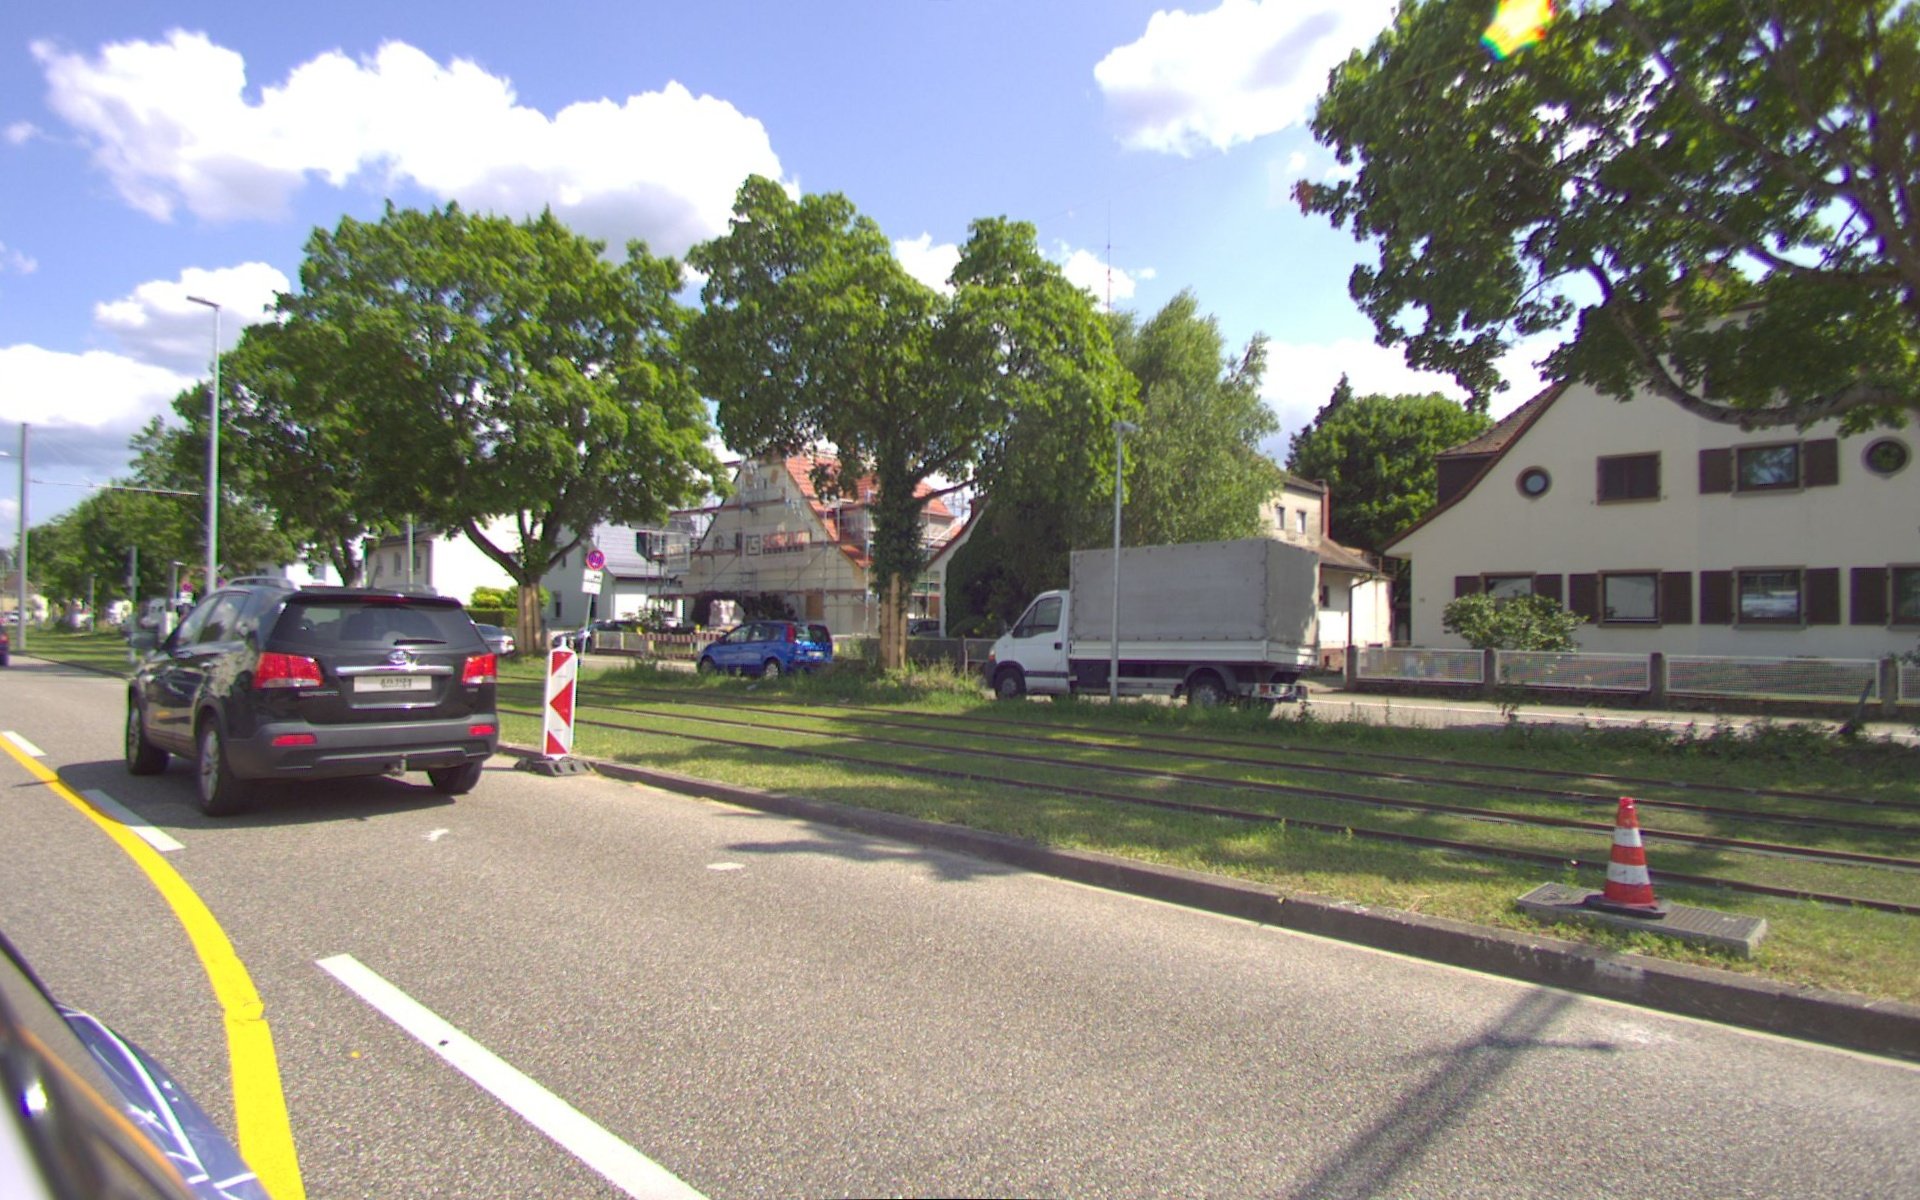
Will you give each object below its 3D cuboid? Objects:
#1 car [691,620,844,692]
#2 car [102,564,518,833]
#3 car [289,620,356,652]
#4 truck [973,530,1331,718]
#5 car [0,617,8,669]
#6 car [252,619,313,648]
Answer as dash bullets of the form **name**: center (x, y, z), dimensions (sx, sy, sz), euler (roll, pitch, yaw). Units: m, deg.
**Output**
- **car**: center (-4.771, 1.308, 24.795), dimensions (3.929, 1.524, 1.651), euler (0, 0, 42)
- **car**: center (-5.582, 0.687, 8.472), dimensions (4.219, 1.703, 1.778), euler (-1, -3, 41)
- **car**: center (-29.673, 1.641, 47.079), dimensions (3.999, 1.311, 1.615), euler (0, 1, 42)
- **truck**: center (3.237, 0.354, 18.113), dimensions (5.950, 2.826, 2.340), euler (0, 0, 42)
- **car**: center (-29.834, 1.240, 30.077), dimensions (4.533, 1.498, 1.693), euler (-1, -3, 40)
- **car**: center (-34.176, 1.643, 51.040), dimensions (3.999, 1.311, 1.615), euler (0, 1, 42)
